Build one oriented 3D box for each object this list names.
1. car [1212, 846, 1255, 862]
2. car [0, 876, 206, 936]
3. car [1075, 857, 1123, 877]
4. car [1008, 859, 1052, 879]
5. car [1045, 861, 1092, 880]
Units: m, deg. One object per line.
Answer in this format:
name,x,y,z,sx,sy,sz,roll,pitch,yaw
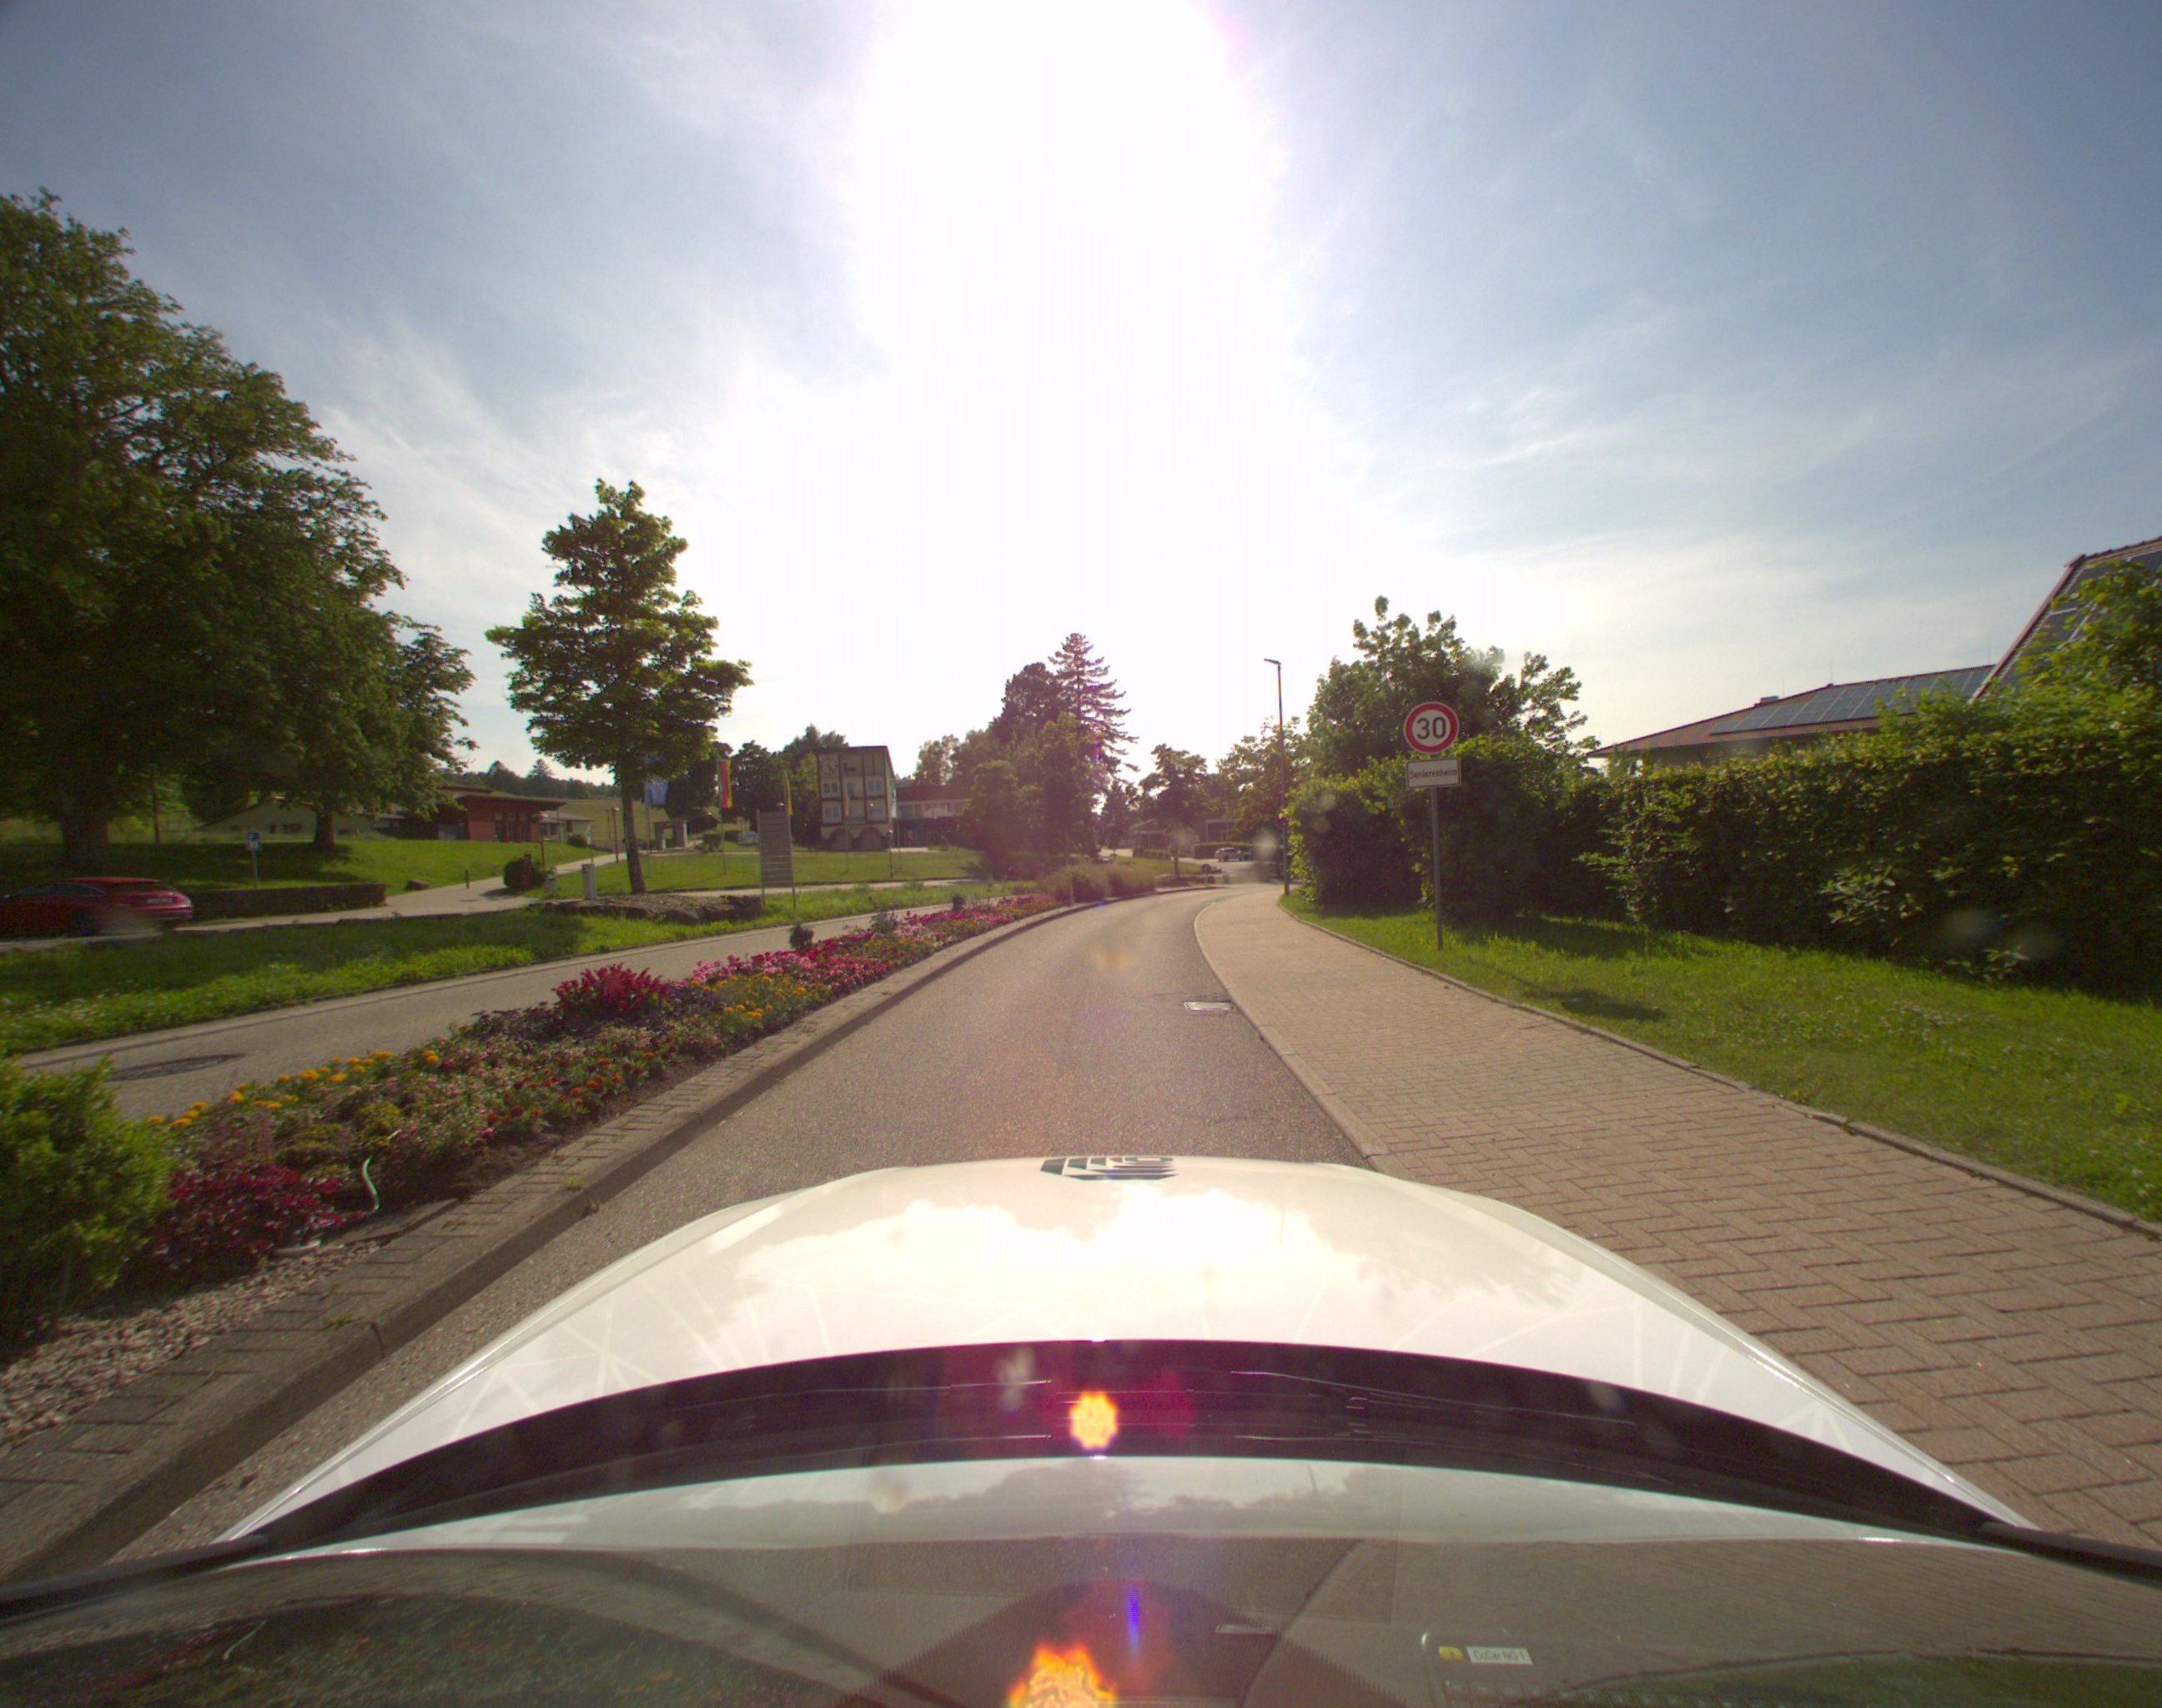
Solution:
car,18.532,-0.034,98.843,4.722,1.533,1.991,-2,5,-14
car,-25.209,1.298,20.695,4.204,1.399,1.826,-1,0,5
car,1.555,1.130,70.238,3.892,1.609,1.787,1,0,43
car,-4.104,1.182,65.079,3.167,1.470,1.787,1,0,42
car,-1.031,1.331,67.216,3.667,1.433,1.787,1,0,44
